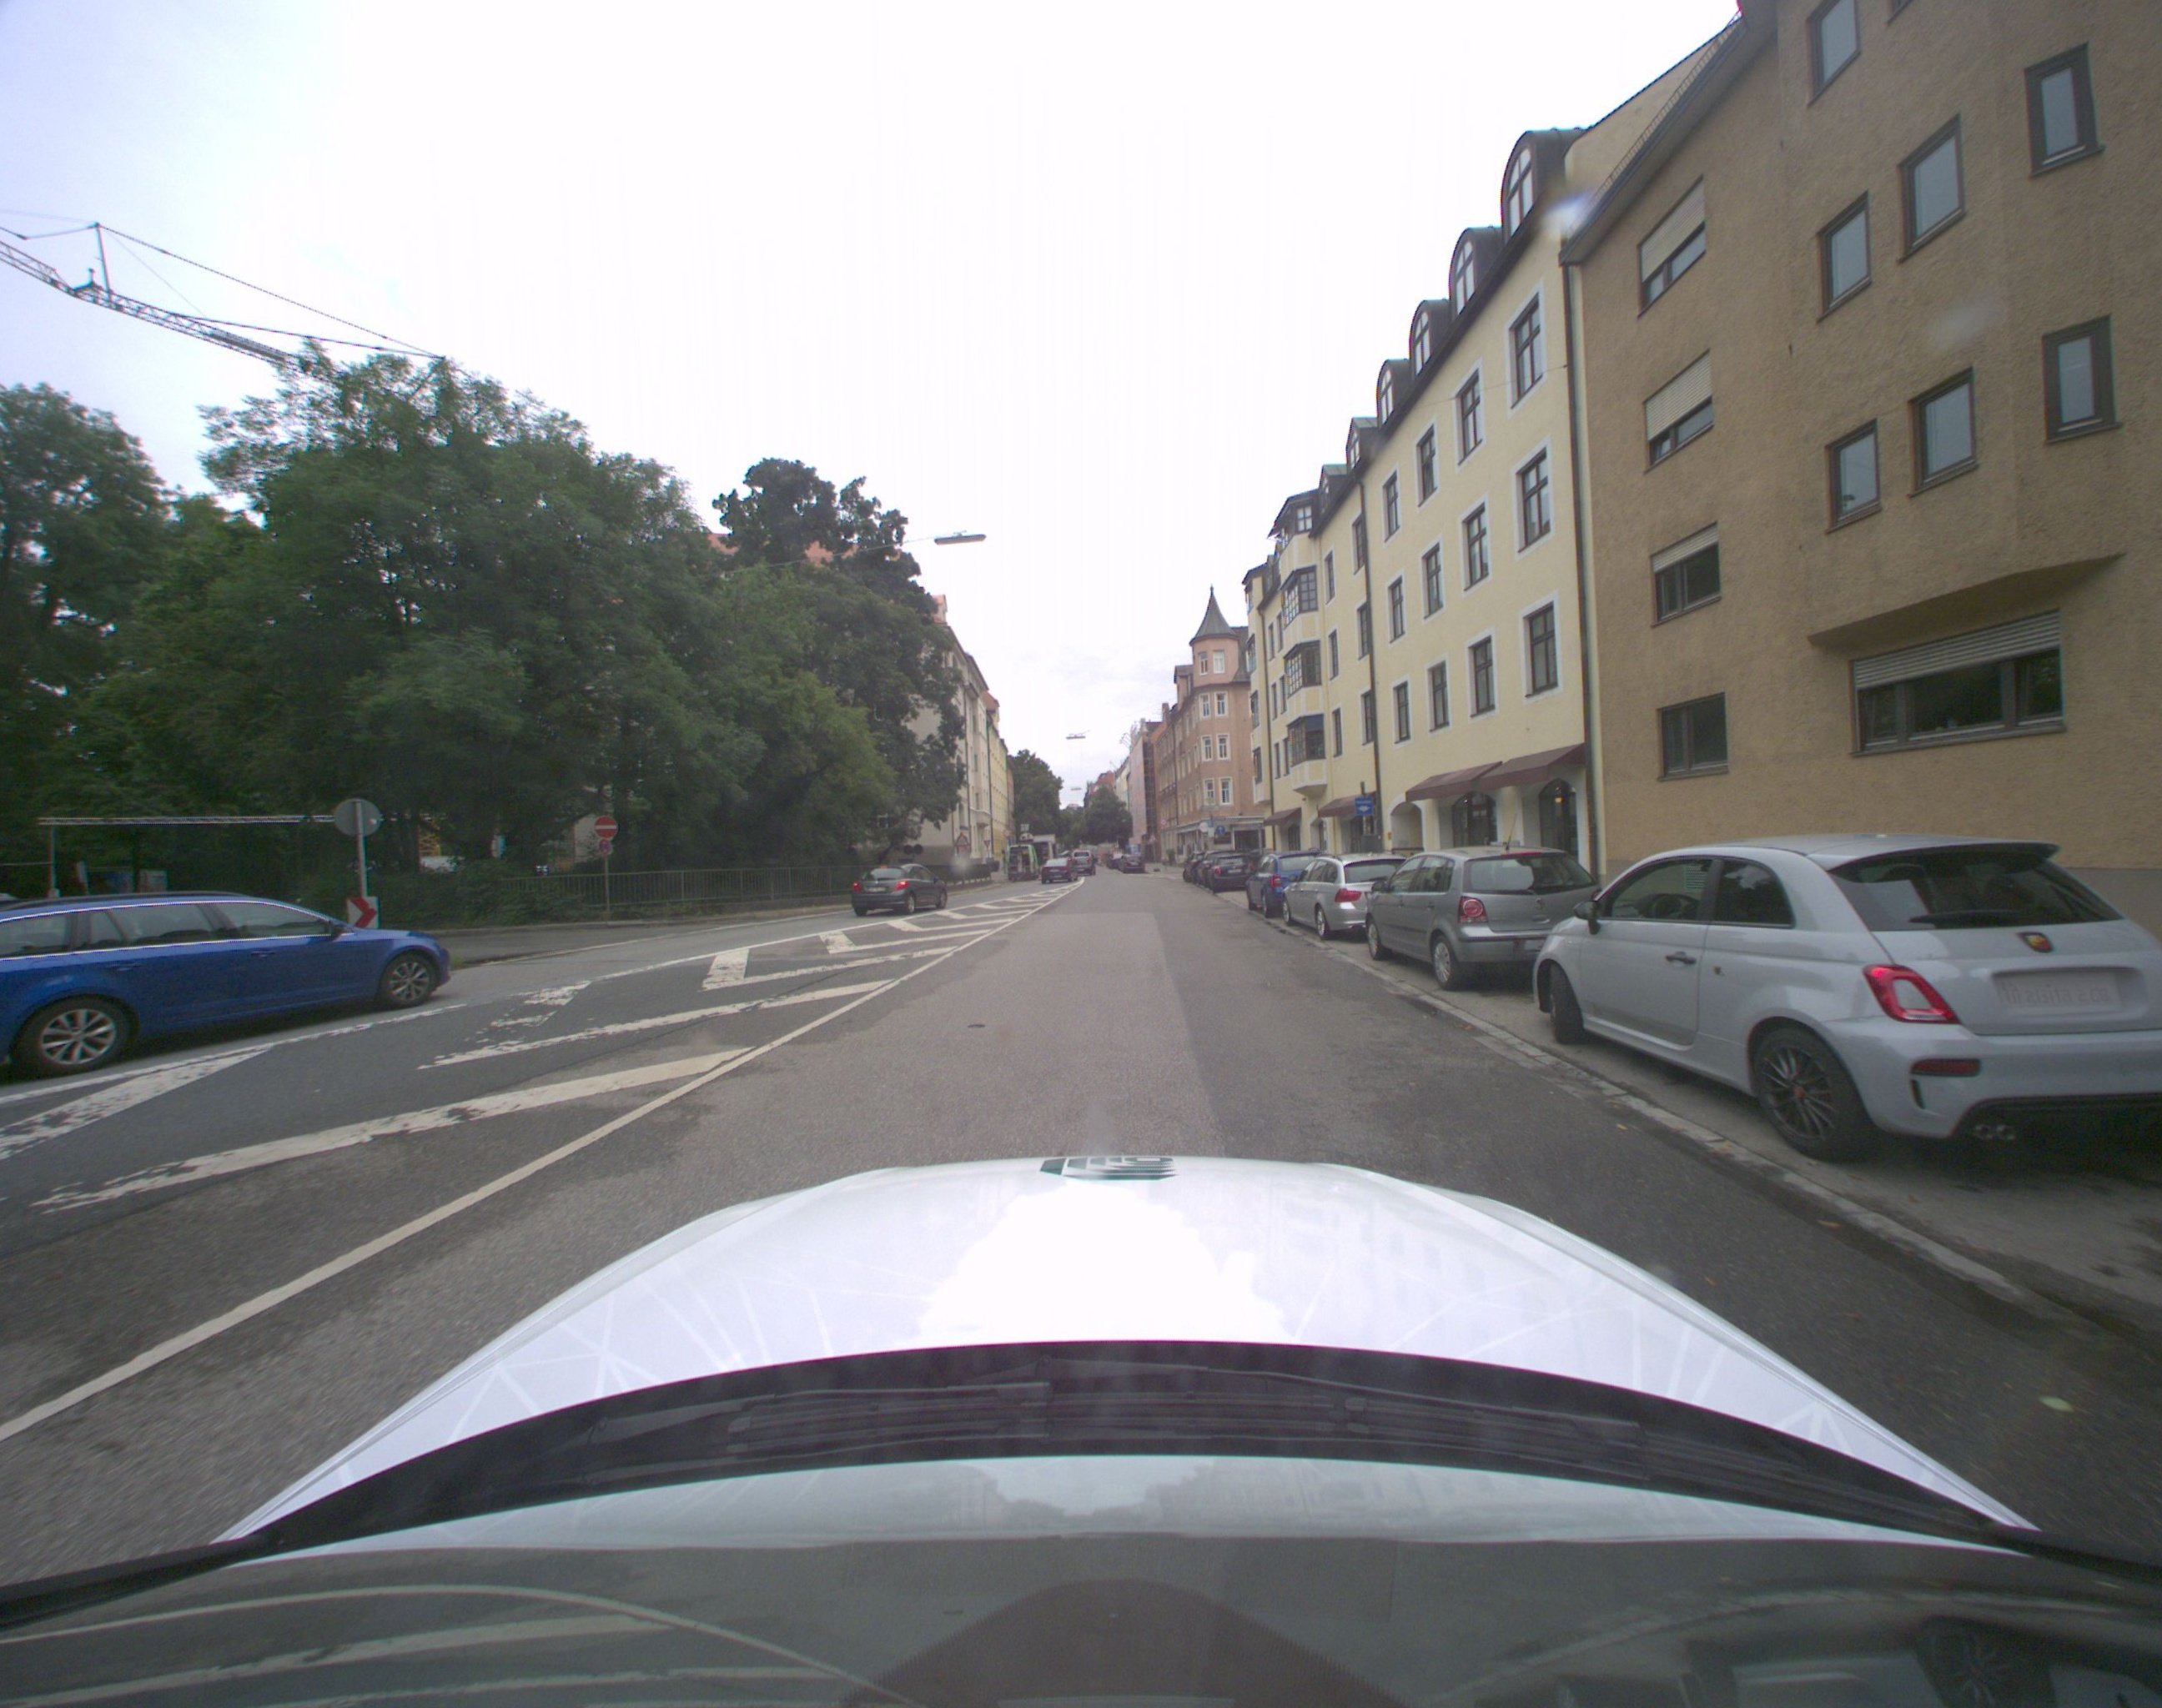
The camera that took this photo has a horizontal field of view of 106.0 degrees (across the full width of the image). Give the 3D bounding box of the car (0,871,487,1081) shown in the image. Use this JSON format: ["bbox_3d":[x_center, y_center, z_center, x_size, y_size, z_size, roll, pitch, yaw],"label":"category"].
[{"bbox_3d":[-8.826,1.012,7.952,1.975,1.454,4.748,-3,0,10],"label":"car"}]

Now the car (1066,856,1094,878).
[{"bbox_3d":[-0.074,0.947,62.404,1.984,1.429,4.140,-3,1,0],"label":"car"}]

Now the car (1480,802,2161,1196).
[{"bbox_3d":[4.216,0.562,5.146,1.621,1.496,3.824,-4,0,3],"label":"car"}]

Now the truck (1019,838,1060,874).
[{"bbox_3d":[-3.536,0.120,71.024,2.762,2.873,7.208,-3,1,3],"label":"truck"}]

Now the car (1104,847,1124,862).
[{"bbox_3d":[3.535,0.059,88.035,1.984,1.429,4.140,-3,1,0],"label":"car"}]

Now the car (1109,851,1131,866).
[{"bbox_3d":[3.774,0.428,80.118,1.839,1.429,4.303,0,1,-2],"label":"car"}]

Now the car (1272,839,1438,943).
[{"bbox_3d":[4.752,0.564,14.802,1.683,1.496,4.438,-4,0,3],"label":"car"}]

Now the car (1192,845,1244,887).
[{"bbox_3d":[6.177,0.510,37.117,1.749,1.679,4.711,-4,0,3],"label":"car"}]

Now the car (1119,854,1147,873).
[{"bbox_3d":[4.128,0.753,65.469,1.839,1.429,4.181,0,1,-2],"label":"car"}]

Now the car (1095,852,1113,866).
[{"bbox_3d":[2.704,0.566,97.843,1.984,1.429,4.140,-3,1,0],"label":"car"}]

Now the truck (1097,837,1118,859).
[{"bbox_3d":[3.677,-0.816,114.053,2.485,2.973,5.325,-2,0,-1],"label":"truck"}]

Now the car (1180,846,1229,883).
[{"bbox_3d":[6.365,0.527,42.341,1.812,1.679,4.511,-4,0,1],"label":"car"}]

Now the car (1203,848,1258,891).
[{"bbox_3d":[5.829,0.560,32.079,1.748,1.496,3.829,-4,0,6],"label":"car"}]

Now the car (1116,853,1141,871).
[{"bbox_3d":[4.102,0.671,71.360,1.839,1.429,4.138,0,1,-2],"label":"car"}]

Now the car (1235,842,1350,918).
[{"bbox_3d":[4.928,0.544,19.595,1.749,1.496,4.492,-4,0,3],"label":"car"}]

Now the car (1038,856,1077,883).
[{"bbox_3d":[-1.392,0.919,50.264,1.982,1.429,4.910,-3,1,3],"label":"car"}]

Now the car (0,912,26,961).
[{"bbox_3d":[-33.737,2.598,23.223,1.891,1.446,4.375,-3,0,-9],"label":"car"}]

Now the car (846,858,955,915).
[{"bbox_3d":[-5.341,0.919,24.678,1.748,1.461,4.085,-3,0,9],"label":"car"}]

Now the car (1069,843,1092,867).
[{"bbox_3d":[-0.021,0.096,75.843,1.984,2.075,4.140,-3,1,0],"label":"car"}]

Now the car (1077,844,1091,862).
[{"bbox_3d":[0.448,-0.182,117.940,1.933,2.480,4.783,-2,0,1],"label":"car"}]

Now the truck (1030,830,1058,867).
[{"bbox_3d":[-4.221,-0.641,94.179,3.005,3.951,6.990,-2,0,-2],"label":"truck"}]

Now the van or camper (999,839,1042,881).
[{"bbox_3d":[-4.433,0.374,60.602,2.592,2.840,6.185,-3,1,0],"label":"van or camper"}]

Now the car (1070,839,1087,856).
[{"bbox_3d":[-0.321,-0.830,104.317,1.988,2.013,3.998,-3,0,-1],"label":"car"}]

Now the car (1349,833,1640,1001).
[{"bbox_3d":[4.541,0.594,9.627,1.621,1.496,3.790,-4,0,3],"label":"car"}]
